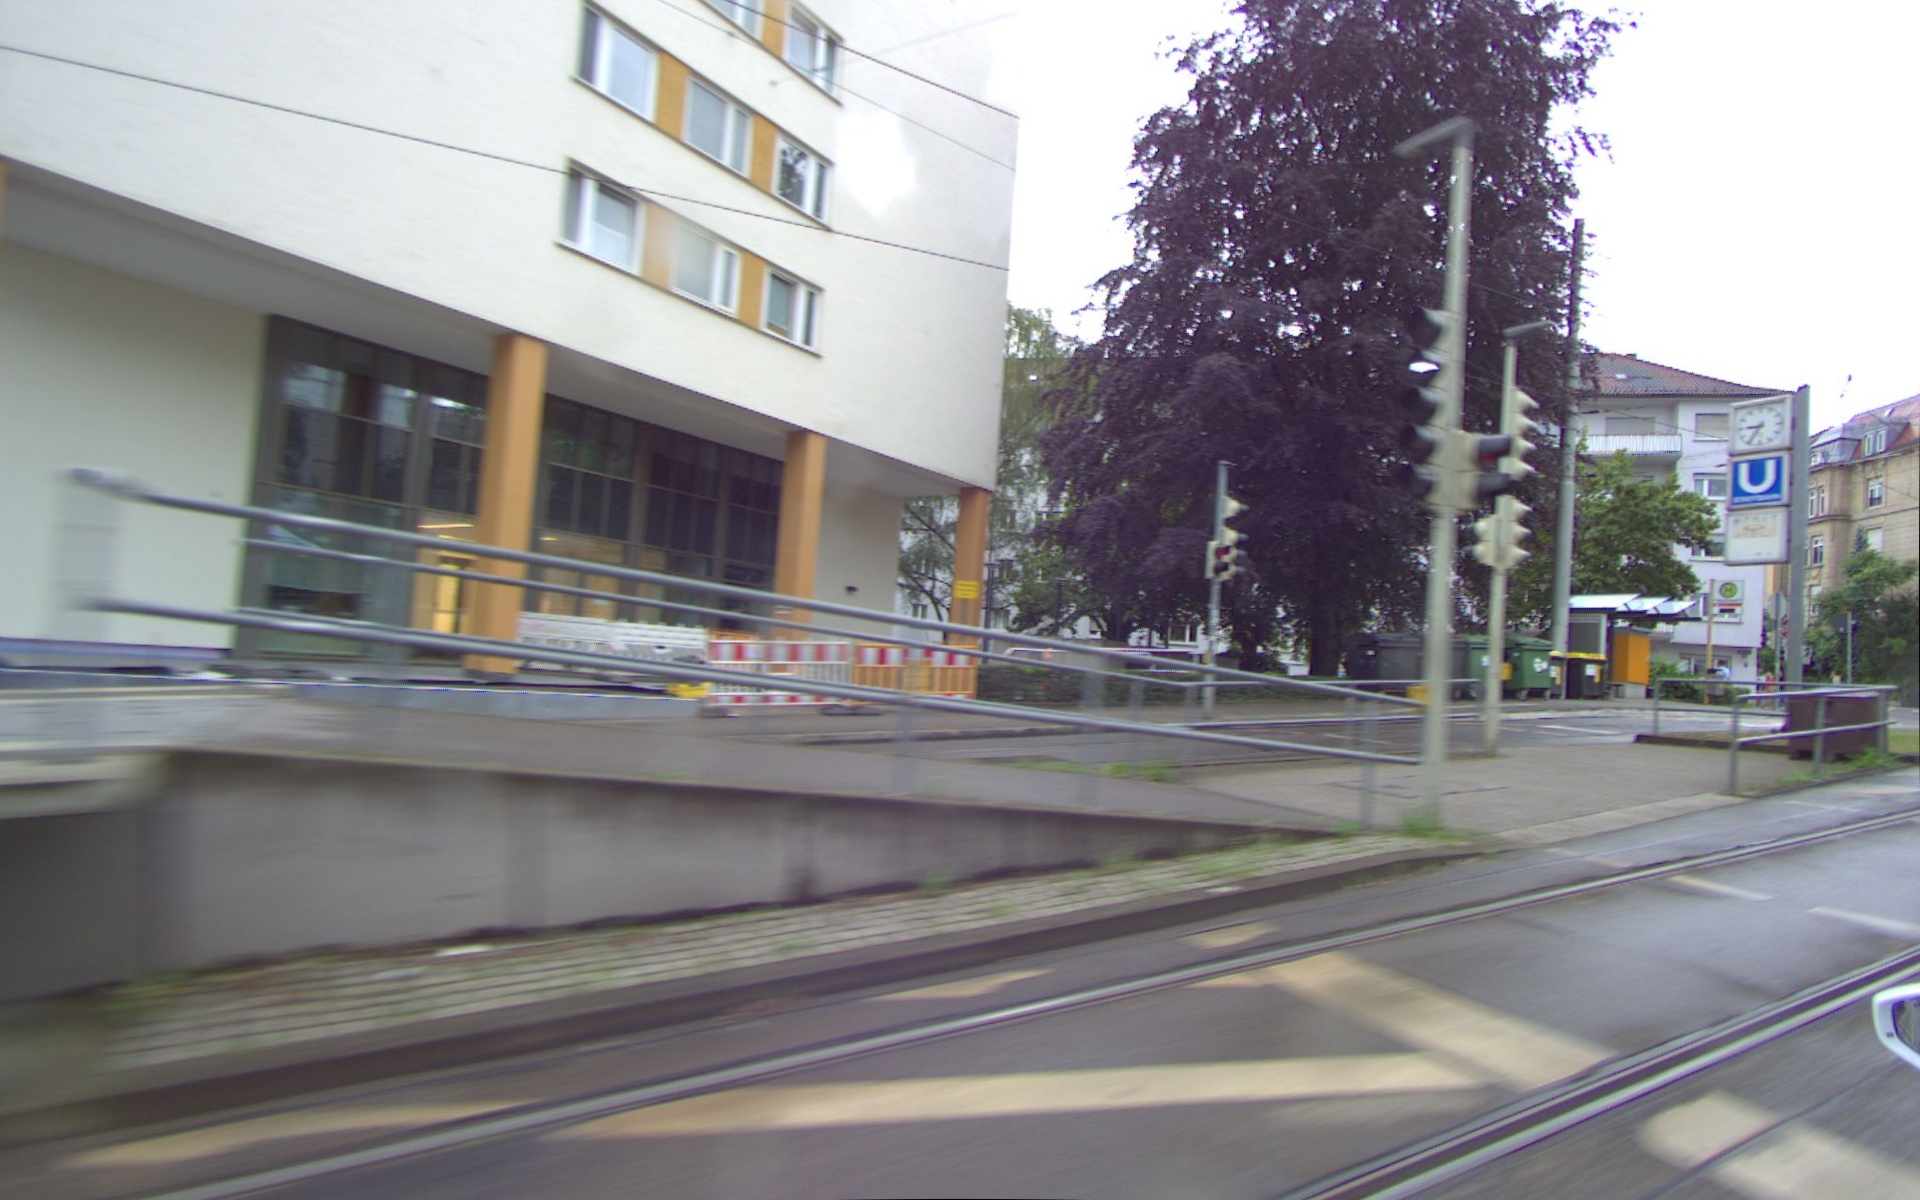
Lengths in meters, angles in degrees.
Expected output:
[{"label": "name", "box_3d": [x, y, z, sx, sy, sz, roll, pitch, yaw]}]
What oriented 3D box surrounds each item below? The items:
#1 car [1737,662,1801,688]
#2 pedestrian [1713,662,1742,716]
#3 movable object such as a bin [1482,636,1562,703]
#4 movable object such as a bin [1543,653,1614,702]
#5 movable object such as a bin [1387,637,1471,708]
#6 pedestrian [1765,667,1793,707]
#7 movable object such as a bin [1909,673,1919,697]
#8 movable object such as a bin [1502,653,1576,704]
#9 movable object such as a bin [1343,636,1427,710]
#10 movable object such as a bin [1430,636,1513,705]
[{"label": "car", "box_3d": [58.352, 5.388, 72.510, 1.736, 1.409, 4.002, 4, 0, 9]}, {"label": "pedestrian", "box_3d": [24.957, 2.896, 32.659, 0.768, 1.706, 0.564, 4, -4, -37]}, {"label": "movable object such as a bin", "box_3d": [13.053, 1.588, 23.337, 1.409, 1.453, 1.017, 1, 0, -28]}, {"label": "movable object such as a bin", "box_3d": [15.879, 1.970, 25.798, 1.326, 1.153, 1.017, 1, 0, -28]}, {"label": "movable object such as a bin", "box_3d": [10.123, 1.544, 21.704, 1.338, 1.453, 1.017, 1, 0, -28]}, {"label": "pedestrian", "box_3d": [37.265, 3.945, 45.718, 0.730, 1.722, 0.673, 1, 0, 16]}, {"label": "movable object such as a bin", "box_3d": [60.598, 5.366, 63.086, 1.204, 1.422, 0.823, 1, 0, 2]}, {"label": "movable object such as a bin", "box_3d": [14.261, 1.918, 24.761, 1.326, 1.153, 1.017, 1, 0, -28]}, {"label": "movable object such as a bin", "box_3d": [8.912, 1.515, 21.072, 1.287, 1.453, 1.017, 1, 0, -28]}, {"label": "movable object such as a bin", "box_3d": [11.470, 1.560, 22.526, 1.426, 1.453, 1.017, 1, 0, -28]}]
